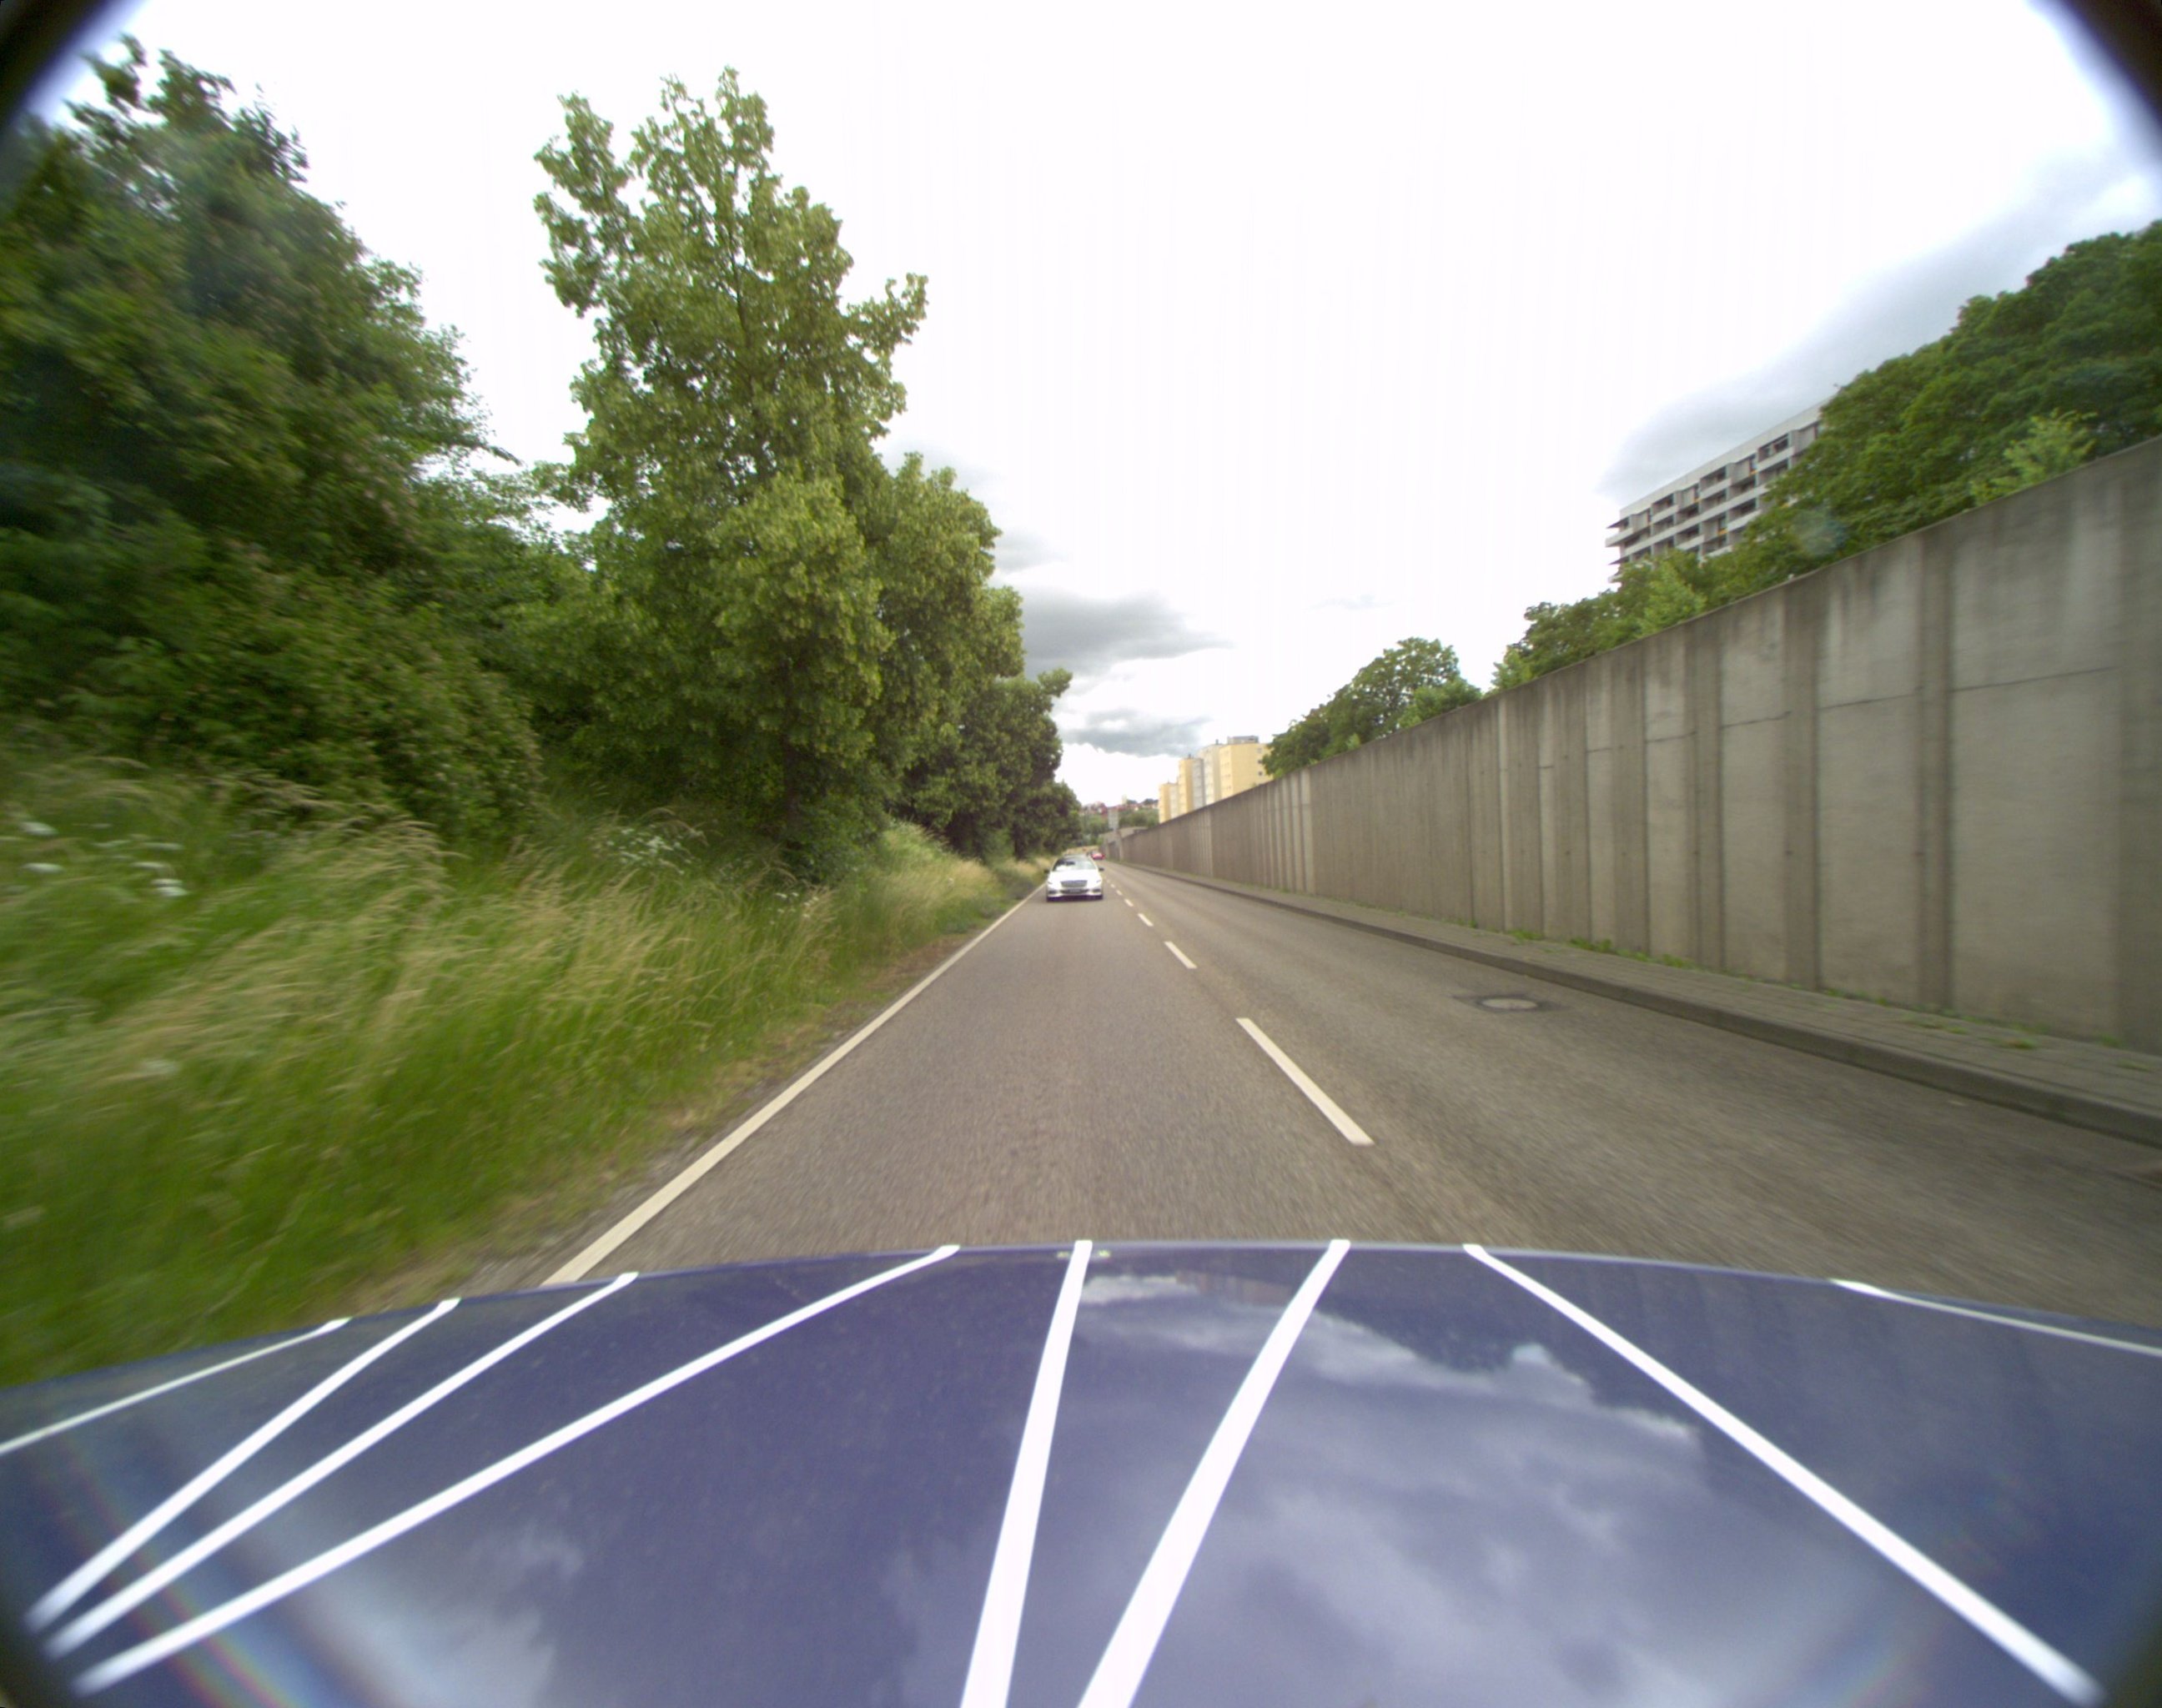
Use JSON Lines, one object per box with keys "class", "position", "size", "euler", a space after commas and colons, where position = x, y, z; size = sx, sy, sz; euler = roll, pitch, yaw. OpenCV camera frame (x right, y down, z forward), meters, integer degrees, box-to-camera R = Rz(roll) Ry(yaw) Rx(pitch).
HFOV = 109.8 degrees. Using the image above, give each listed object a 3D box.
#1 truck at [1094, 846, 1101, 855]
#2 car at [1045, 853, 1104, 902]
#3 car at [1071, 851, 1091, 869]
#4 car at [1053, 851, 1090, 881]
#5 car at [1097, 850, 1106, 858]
{"class": "truck", "position": [3.879, -0.862, 182.494], "size": [1.593, 2.210, 3.999], "euler": [-3, 1, 1]}
{"class": "car", "position": [-0.195, 0.753, 26.581], "size": [1.842, 1.499, 4.160], "euler": [-2, 0, 0]}
{"class": "car", "position": [-0.005, 0.573, 79.924], "size": [1.998, 1.745, 4.000], "euler": [-3, 0, 1]}
{"class": "car", "position": [-0.485, 0.649, 42.518], "size": [1.878, 1.459, 3.999], "euler": [-3, 1, 0]}
{"class": "car", "position": [4.179, 0.011, 152.687], "size": [1.639, 1.478, 3.493], "euler": [-2, 0, 0]}
